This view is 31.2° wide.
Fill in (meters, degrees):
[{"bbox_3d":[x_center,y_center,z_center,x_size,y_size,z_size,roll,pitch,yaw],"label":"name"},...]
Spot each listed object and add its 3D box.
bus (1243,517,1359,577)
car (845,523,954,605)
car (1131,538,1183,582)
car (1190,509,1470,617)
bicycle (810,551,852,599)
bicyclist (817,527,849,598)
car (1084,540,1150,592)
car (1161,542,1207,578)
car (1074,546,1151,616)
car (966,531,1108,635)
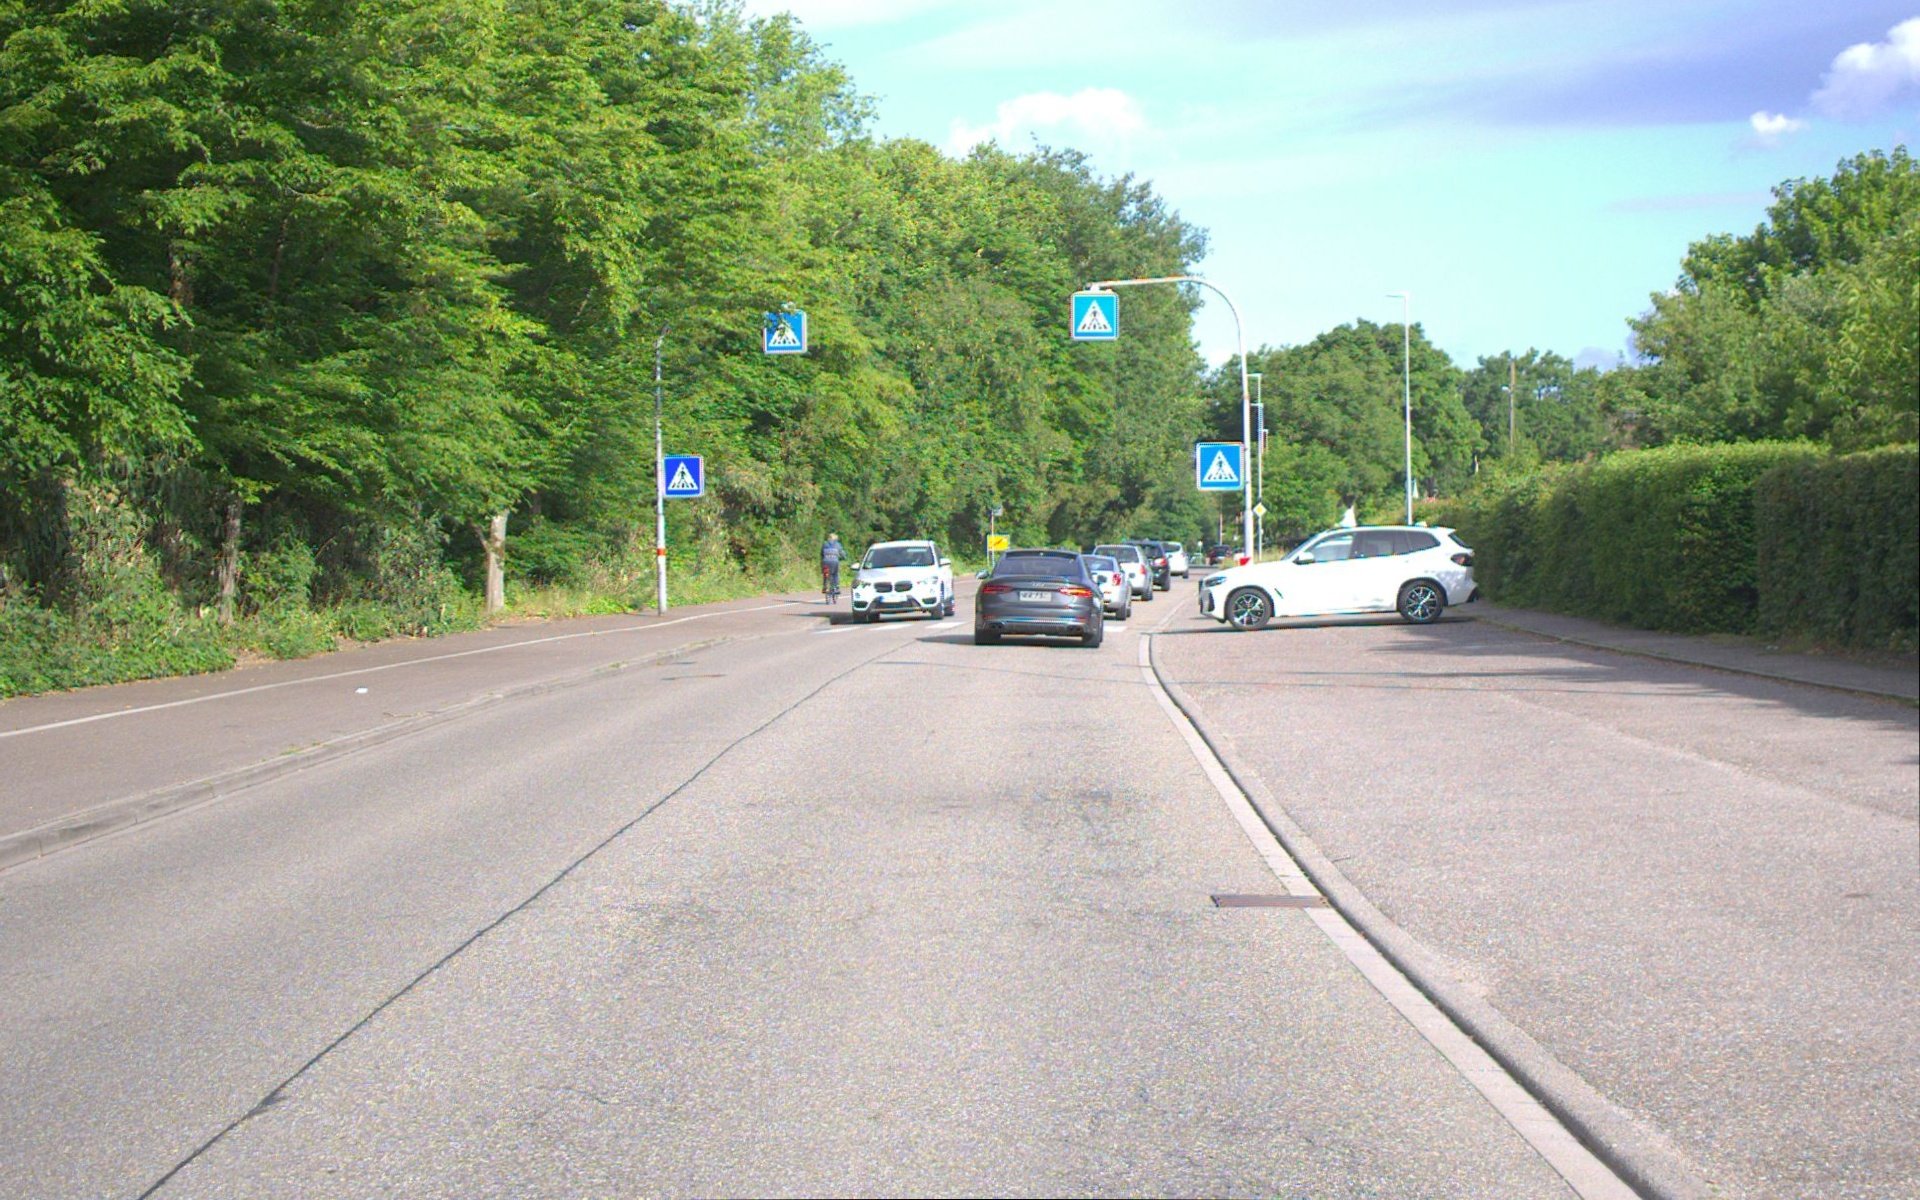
[{"bbox_3d":[16.178,-2.529,163.348,5.365,2.737,2.068,-1,1,3],"label":"bus"},{"bbox_3d":[-1.200,-0.717,69.719,1.802,1.580,4.101,-1,0,4],"label":"car"},{"bbox_3d":[6.151,-1.252,107.242,1.495,1.361,3.261,0,1,5],"label":"car"},{"bbox_3d":[6.207,-0.625,57.866,4.589,1.694,1.763,-1,1,6],"label":"car"},{"bbox_3d":[-3.079,-0.603,82.357,0.662,1.093,2.348,2,1,6],"label":"bicycle"},{"bbox_3d":[-3.044,-0.900,82.356,0.609,1.671,0.883,2,1,6],"label":"bicyclist"},{"bbox_3d":[4.033,-0.890,87.860,1.495,1.300,3.261,0,1,6],"label":"car"},{"bbox_3d":[8.704,-1.558,133.393,1.495,1.361,3.261,0,1,9],"label":"car"},{"bbox_3d":[3.124,-0.410,69.952,1.495,1.361,3.262,0,1,4],"label":"car"},{"bbox_3d":[1.109,-0.277,50.798,1.966,1.429,4.336,1,1,1],"label":"car"}]
